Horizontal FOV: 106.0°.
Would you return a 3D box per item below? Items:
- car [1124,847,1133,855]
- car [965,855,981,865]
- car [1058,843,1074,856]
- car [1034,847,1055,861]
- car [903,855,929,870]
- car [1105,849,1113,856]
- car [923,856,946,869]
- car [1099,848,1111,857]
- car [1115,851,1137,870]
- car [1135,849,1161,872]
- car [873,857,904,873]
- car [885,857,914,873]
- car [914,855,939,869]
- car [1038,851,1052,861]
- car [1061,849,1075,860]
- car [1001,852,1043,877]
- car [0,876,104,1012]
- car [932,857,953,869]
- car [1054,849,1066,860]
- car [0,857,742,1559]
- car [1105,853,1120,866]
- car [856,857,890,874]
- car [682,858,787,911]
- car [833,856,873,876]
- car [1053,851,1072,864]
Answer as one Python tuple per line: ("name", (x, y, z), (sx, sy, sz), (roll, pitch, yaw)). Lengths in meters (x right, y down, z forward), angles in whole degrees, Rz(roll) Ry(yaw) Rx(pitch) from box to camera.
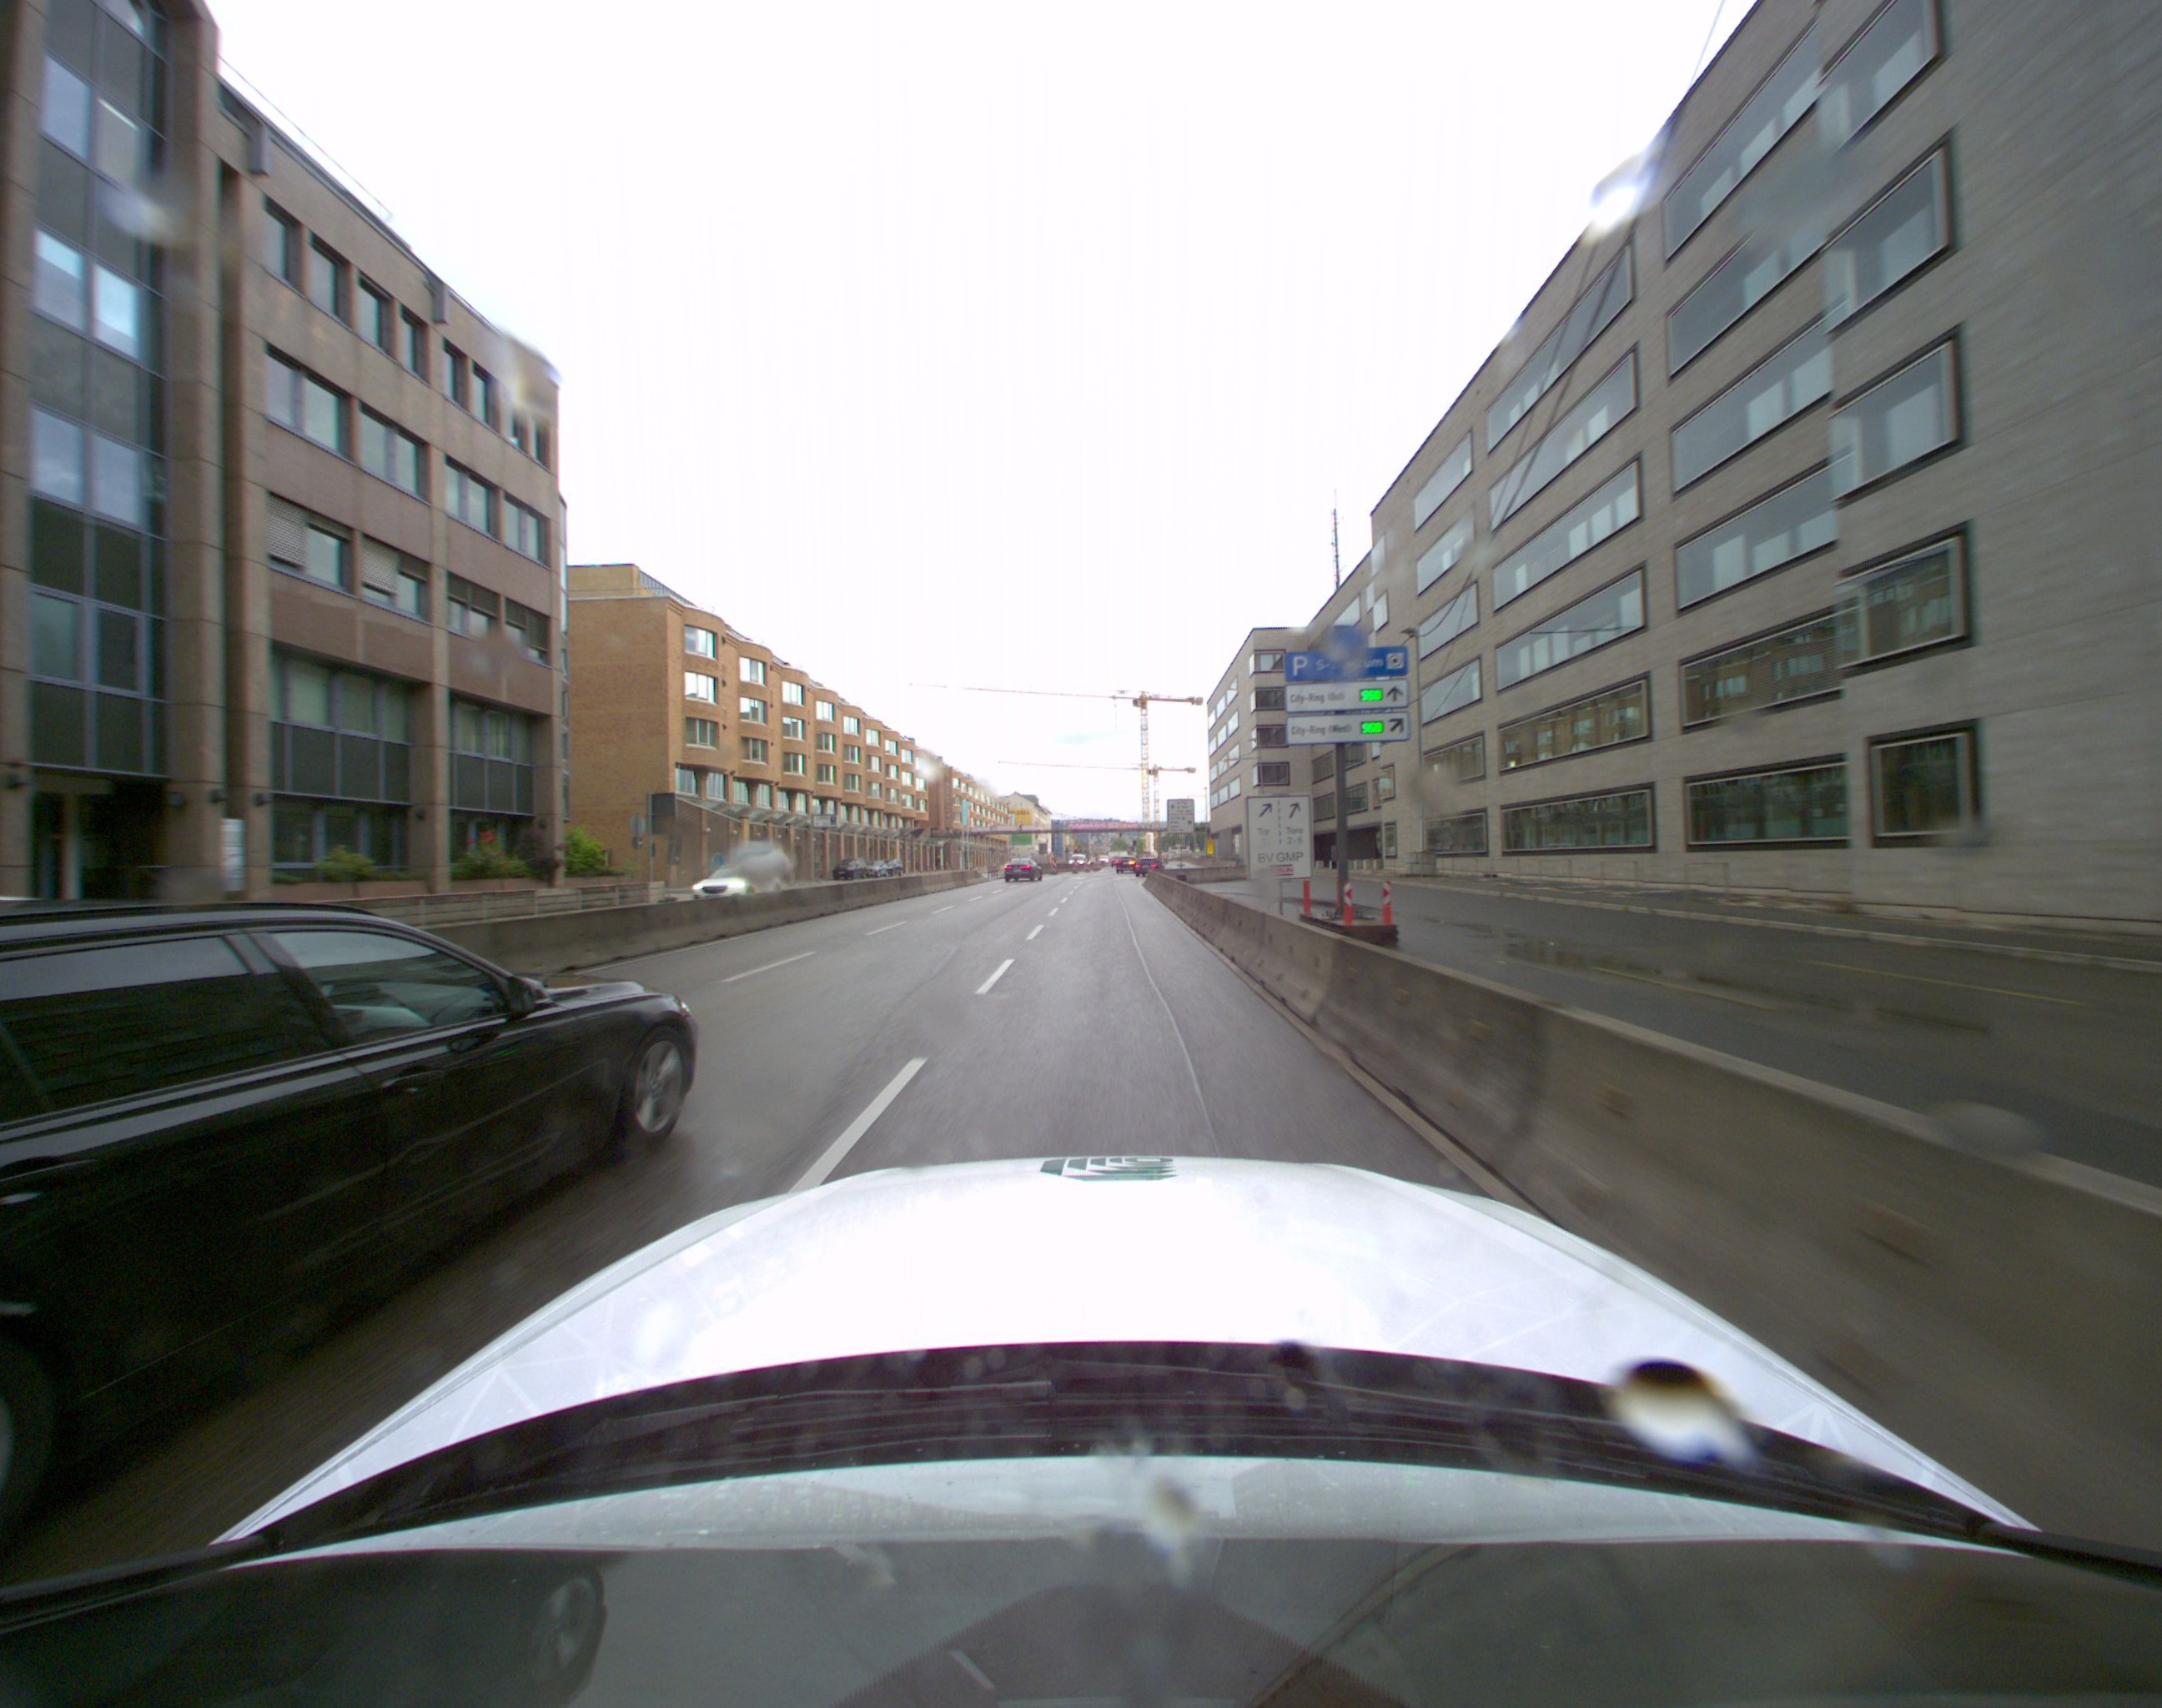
("car", (10.349, -0.697, 176.988), (1.891, 1.693, 4.005), (-2, 0, 5))
("car", (-18.509, 1.035, 139.721), (1.986, 1.620, 4.692), (-2, 0, 2))
("car", (-2.130, -0.656, 117.473), (1.986, 1.826, 4.765), (-2, 0, 2))
("car", (-4.253, 0.022, 95.865), (1.986, 1.620, 4.765), (-2, 0, 2))
("car", (-19.399, 0.967, 96.018), (1.986, 1.620, 4.320), (-2, 0, 2))
("car", (7.172, -0.407, 207.674), (1.891, 1.693, 4.005), (-2, 0, 5))
("car", (-19.233, 1.095, 107.158), (1.986, 1.620, 4.692), (-2, 0, 2))
("car", (4.677, -0.290, 157.802), (1.891, 1.693, 4.005), (-2, 0, 5))
("car", (4.299, 0.582, 76.653), (1.891, 1.693, 4.005), (-2, 0, 5))
("car", (5.106, 0.481, 62.811), (1.892, 1.693, 4.004), (-2, 0, 4))
("car", (-19.850, 1.118, 84.061), (1.986, 1.620, 4.320), (-2, 0, 2))
("car", (-19.732, 1.139, 88.625), (1.986, 1.620, 4.320), (-2, 0, 2))
("car", (-19.132, 1.031, 101.285), (1.986, 1.620, 4.692), (-2, 0, 2))
("car", (-6.310, 0.310, 143.734), (1.985, 1.620, 4.767), (-2, 0, 3))
("car", (-2.089, 0.112, 130.668), (1.987, 1.620, 4.763), (-2, 0, 1))
("car", (-3.655, 0.628, 51.349), (1.781, 1.426, 4.393), (-2, 0, 7))
("car", (-12.677, 1.064, 8.002), (1.596, 1.442, 3.659), (-2, 1, 2))
("car", (-19.233, 1.259, 113.296), (1.986, 1.620, 4.692), (-2, 0, 2))
("car", (-4.096, 0.153, 160.866), (1.985, 2.013, 4.003), (-2, 0, 3))
("car", (-3.069, 0.738, 2.778), (1.785, 1.426, 4.614), (-1, 0, 1))
("car", (4.556, 0.799, 117.980), (1.891, 1.693, 4.005), (-2, 0, 5))
("car", (-20.139, 1.101, 79.194), (1.986, 1.620, 4.320), (-2, 0, 2))
("car", (-12.438, 1.035, 29.545), (1.813, 1.618, 4.194), (-2, 1, 2))
("car", (-20.075, 1.058, 71.889), (1.986, 1.620, 4.765), (-2, 0, 2))
("car", (-2.353, 0.430, 104.774), (1.986, 1.620, 4.765), (-2, -1, 2))
